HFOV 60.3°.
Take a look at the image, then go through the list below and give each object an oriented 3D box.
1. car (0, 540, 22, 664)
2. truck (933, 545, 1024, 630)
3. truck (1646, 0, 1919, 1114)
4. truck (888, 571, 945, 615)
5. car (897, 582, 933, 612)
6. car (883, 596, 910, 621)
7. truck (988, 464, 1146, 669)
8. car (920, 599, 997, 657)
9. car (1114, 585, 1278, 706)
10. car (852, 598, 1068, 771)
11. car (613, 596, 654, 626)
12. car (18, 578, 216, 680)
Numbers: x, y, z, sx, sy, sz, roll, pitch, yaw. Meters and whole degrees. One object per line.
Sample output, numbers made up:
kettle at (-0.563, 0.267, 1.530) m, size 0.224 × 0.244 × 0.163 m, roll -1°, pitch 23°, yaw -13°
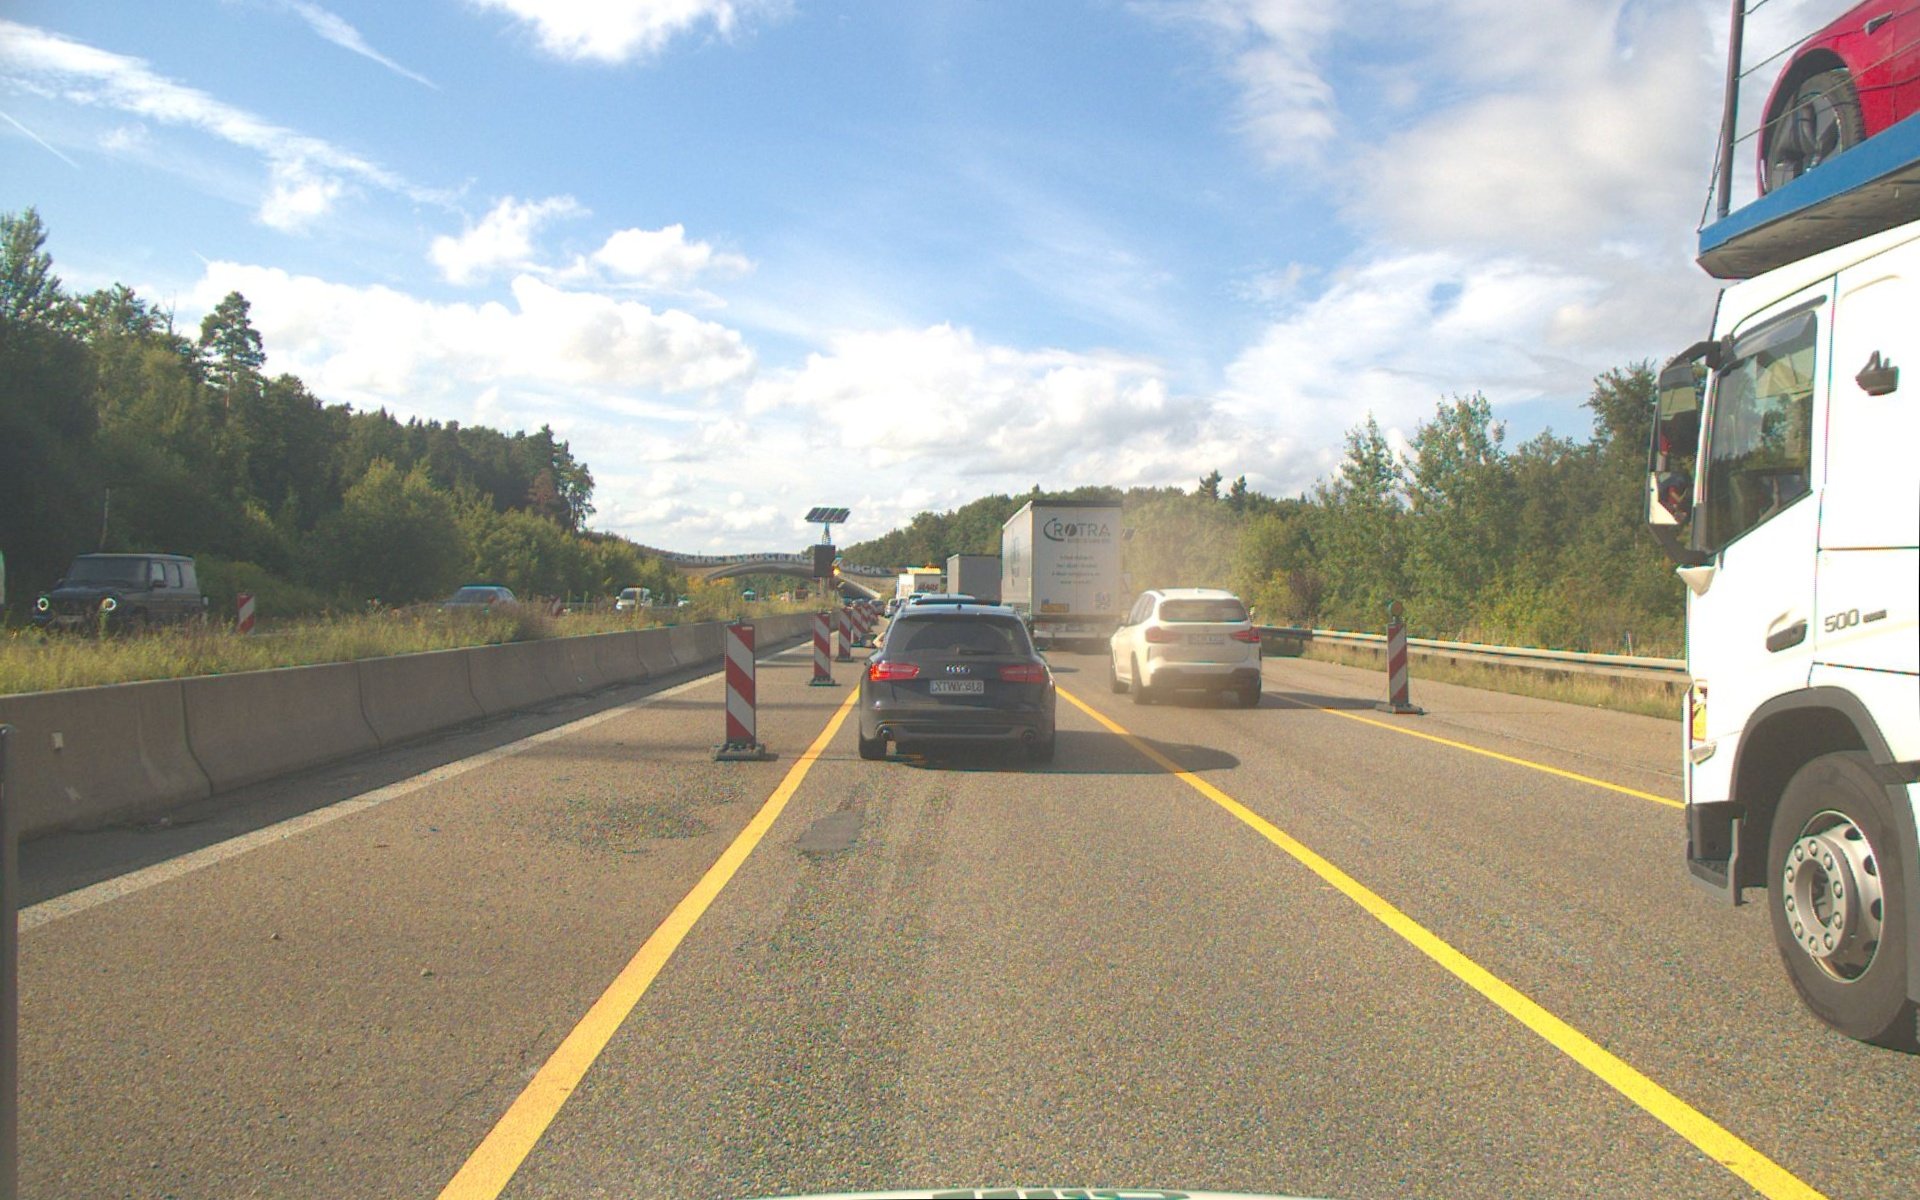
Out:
car at (-22.021, 0.012, 33.841) m, size 1.987 × 2.731 × 6.521 m, roll 1°, pitch 0°, yaw -1°
truck at (0.957, -0.687, 98.465) m, size 4.235 × 4.681 × 11.112 m, roll 1°, pitch 0°, yaw -5°
truck at (4.815, -0.543, 3.101) m, size 3.684 × 4.270 × 7.950 m, roll 1°, pitch 0°, yaw 0°
truck at (-4.158, -0.645, 156.374) m, size 3.588 × 3.997 × 11.037 m, roll 1°, pitch 0°, yaw -11°
car at (-2.609, -0.166, 94.389) m, size 1.853 × 1.672 × 4.014 m, roll 1°, pitch 0°, yaw -4°
car at (-5.502, 0.716, 142.806) m, size 1.956 × 2.049 × 3.992 m, roll 1°, pitch 0°, yaw -8°
truck at (3.022, -0.864, 52.651) m, size 3.603 × 5.447 × 16.196 m, roll 1°, pitch 0°, yaw -1°
car at (-0.093, 0.730, 44.806) m, size 1.853 × 1.472 × 3.997 m, roll 1°, pitch 0°, yaw -3°
car at (3.510, 0.645, 25.288) m, size 1.852 × 1.672 × 4.017 m, roll 1°, pitch 0°, yaw -1°
car at (-0.025, 0.741, 16.334) m, size 1.852 × 1.472 × 3.999 m, roll 1°, pitch 0°, yaw -1°
car at (-20.215, 0.674, 102.558) m, size 1.742 × 1.817 × 4.364 m, roll 1°, pitch 0°, yaw -1°
car at (-17.291, 0.568, 34.188) m, size 1.742 × 1.936 × 4.616 m, roll 1°, pitch 0°, yaw -1°
